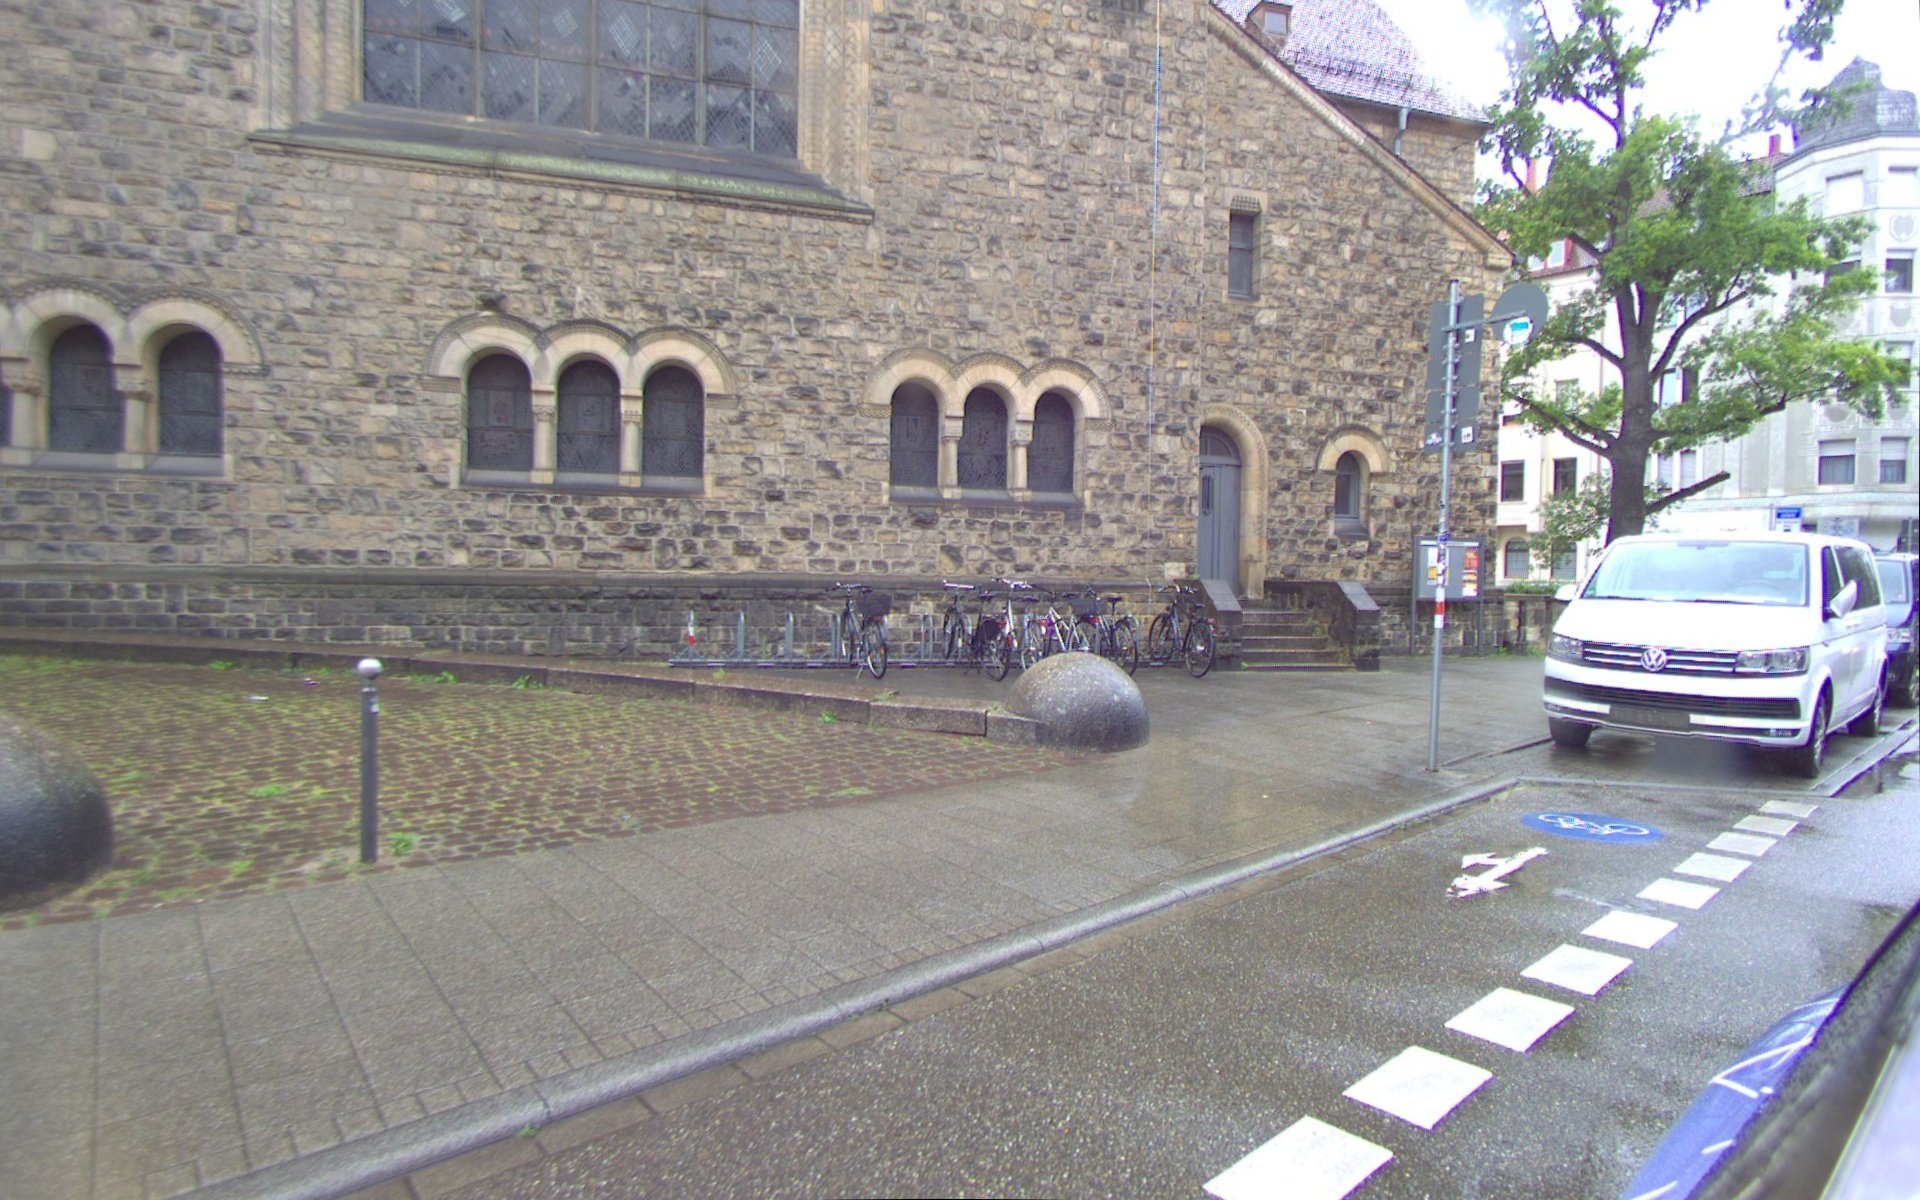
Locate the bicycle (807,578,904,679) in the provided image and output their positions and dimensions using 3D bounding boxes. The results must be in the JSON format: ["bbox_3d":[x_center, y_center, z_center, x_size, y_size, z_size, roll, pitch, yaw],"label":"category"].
[{"bbox_3d":[-1.291,0.291,12.112,0.564,1.062,2.014,0,2,-23],"label":"bicycle"}]

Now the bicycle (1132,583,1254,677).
[{"bbox_3d":[2.999,0.354,13.256,0.593,1.079,1.987,1,2,-18],"label":"bicycle"}]

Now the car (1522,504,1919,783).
[{"bbox_3d":[7.326,0.243,9.480,5.180,1.946,1.908,-1,2,-41],"label":"car"}]

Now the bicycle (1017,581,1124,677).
[{"bbox_3d":[1.363,0.326,12.864,0.569,1.073,1.933,1,2,-19],"label":"bicycle"}]

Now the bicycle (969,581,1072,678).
[{"bbox_3d":[0.711,0.324,12.614,0.569,1.073,1.933,1,2,-19],"label":"bicycle"}]

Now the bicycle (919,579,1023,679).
[{"bbox_3d":[0.090,0.306,12.354,0.569,1.073,1.933,1,2,-21],"label":"bicycle"}]

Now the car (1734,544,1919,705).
[{"bbox_3d":[12.201,0.230,13.739,4.220,1.868,1.836,-1,2,-41],"label":"car"}]

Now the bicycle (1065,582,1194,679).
[{"bbox_3d":[2.109,0.341,12.933,0.663,1.073,2.161,1,2,-19],"label":"bicycle"}]

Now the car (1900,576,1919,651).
[{"bbox_3d":[21.941,0.288,22.053,3.850,1.568,1.674,-1,3,-41],"label":"car"}]
